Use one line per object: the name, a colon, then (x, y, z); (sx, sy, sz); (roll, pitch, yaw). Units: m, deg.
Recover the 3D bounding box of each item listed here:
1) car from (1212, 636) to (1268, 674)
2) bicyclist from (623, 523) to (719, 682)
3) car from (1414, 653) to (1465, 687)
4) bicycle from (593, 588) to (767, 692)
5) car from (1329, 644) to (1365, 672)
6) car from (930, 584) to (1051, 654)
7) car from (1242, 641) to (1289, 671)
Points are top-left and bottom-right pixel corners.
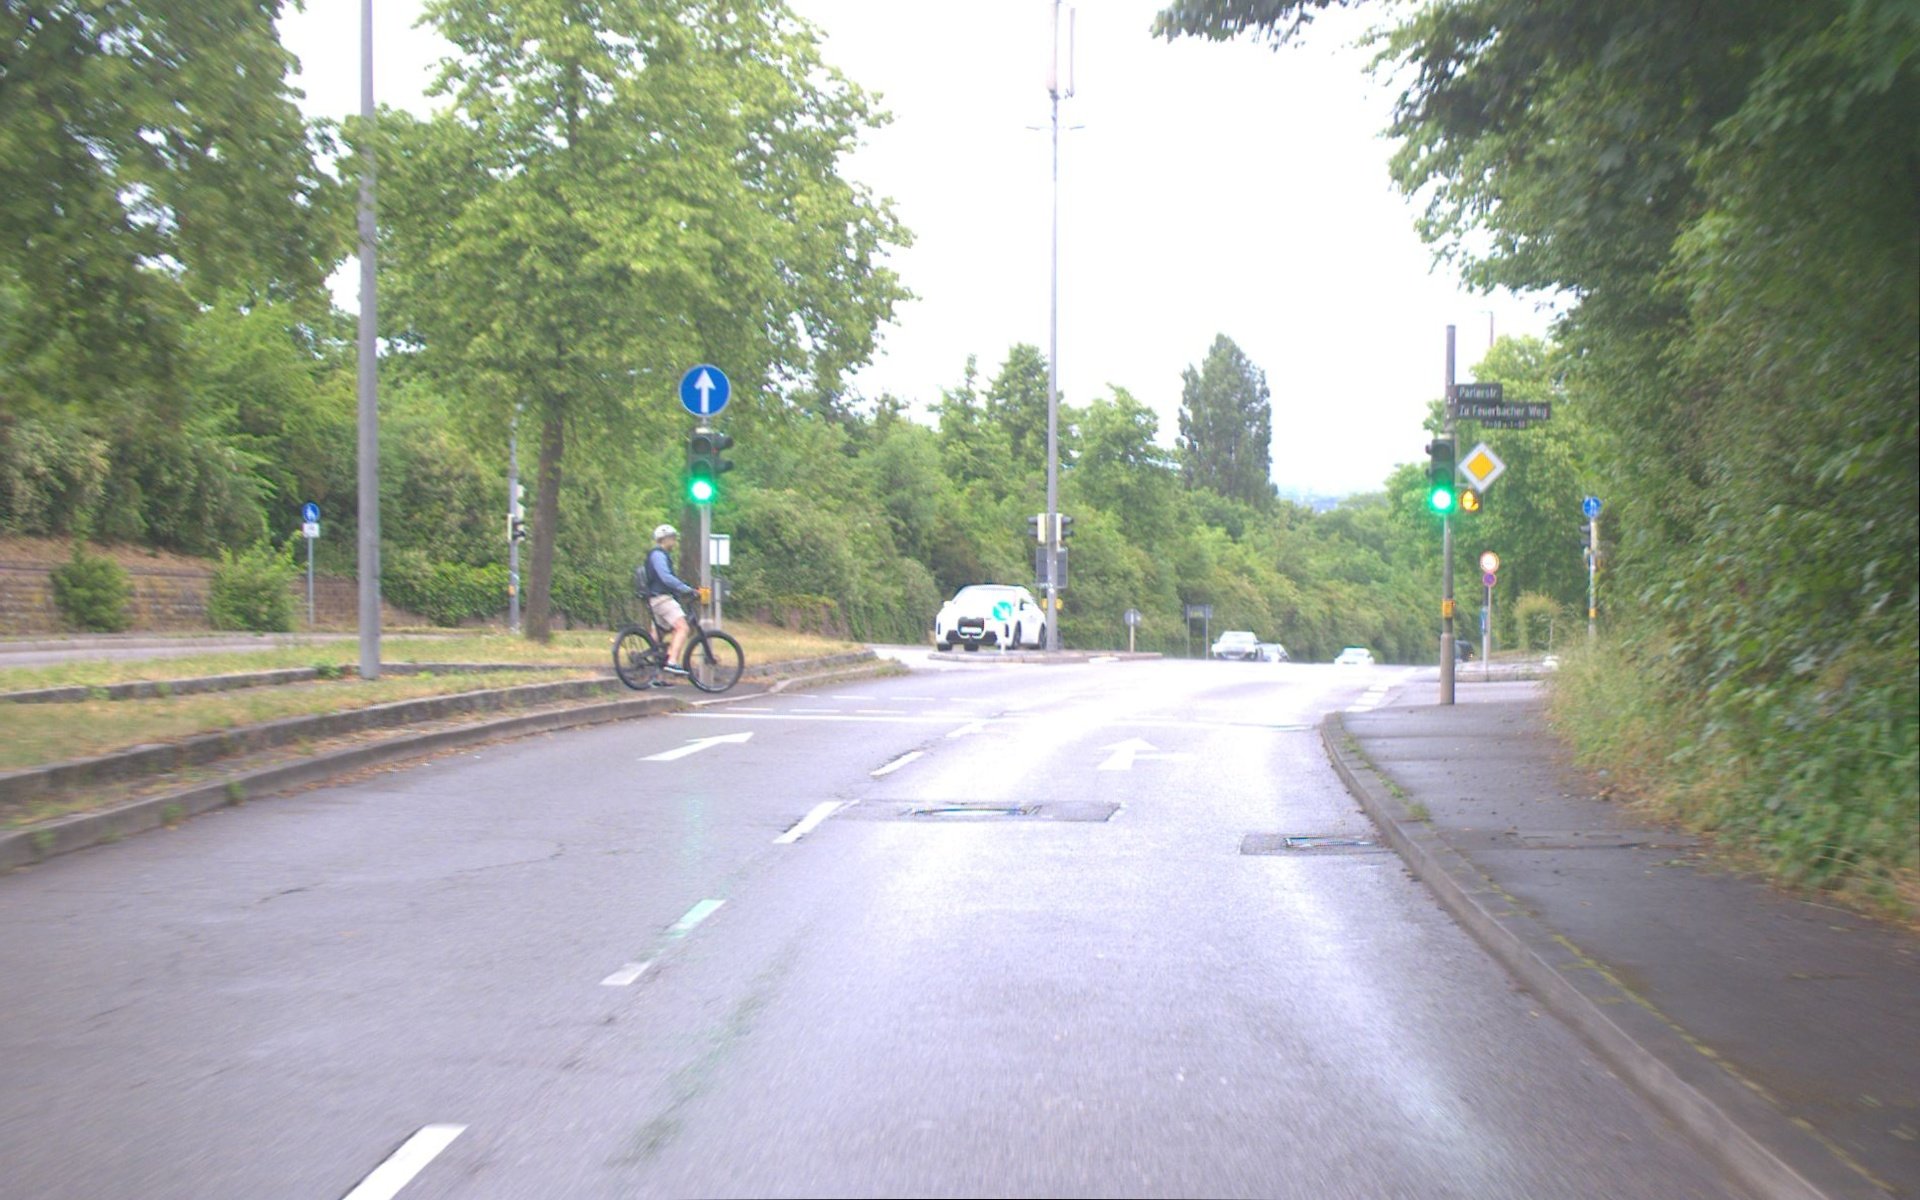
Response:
car: (11.481, 2.265, 140.971); (1.779, 1.467, 4.642); (1, -1, 11)
bicyclist: (-3.265, 0.037, 38.792); (0.724, 1.746, 0.799); (-3, -4, 42)
car: (23.653, 3.459, 169.625); (1.946, 1.585, 3.924); (1, 0, 16)
bicycle: (-3.143, 0.453, 38.805); (0.553, 1.139, 2.135); (1, 0, 42)
car: (22.851, 3.430, 203.024); (1.725, 1.585, 3.998); (1, 0, 12)
car: (0.794, 0.487, 85.004); (1.946, 1.630, 5.002); (1, -1, 13)
car: (15.584, 2.852, 175.402); (1.820, 1.433, 4.452); (1, -1, 12)
